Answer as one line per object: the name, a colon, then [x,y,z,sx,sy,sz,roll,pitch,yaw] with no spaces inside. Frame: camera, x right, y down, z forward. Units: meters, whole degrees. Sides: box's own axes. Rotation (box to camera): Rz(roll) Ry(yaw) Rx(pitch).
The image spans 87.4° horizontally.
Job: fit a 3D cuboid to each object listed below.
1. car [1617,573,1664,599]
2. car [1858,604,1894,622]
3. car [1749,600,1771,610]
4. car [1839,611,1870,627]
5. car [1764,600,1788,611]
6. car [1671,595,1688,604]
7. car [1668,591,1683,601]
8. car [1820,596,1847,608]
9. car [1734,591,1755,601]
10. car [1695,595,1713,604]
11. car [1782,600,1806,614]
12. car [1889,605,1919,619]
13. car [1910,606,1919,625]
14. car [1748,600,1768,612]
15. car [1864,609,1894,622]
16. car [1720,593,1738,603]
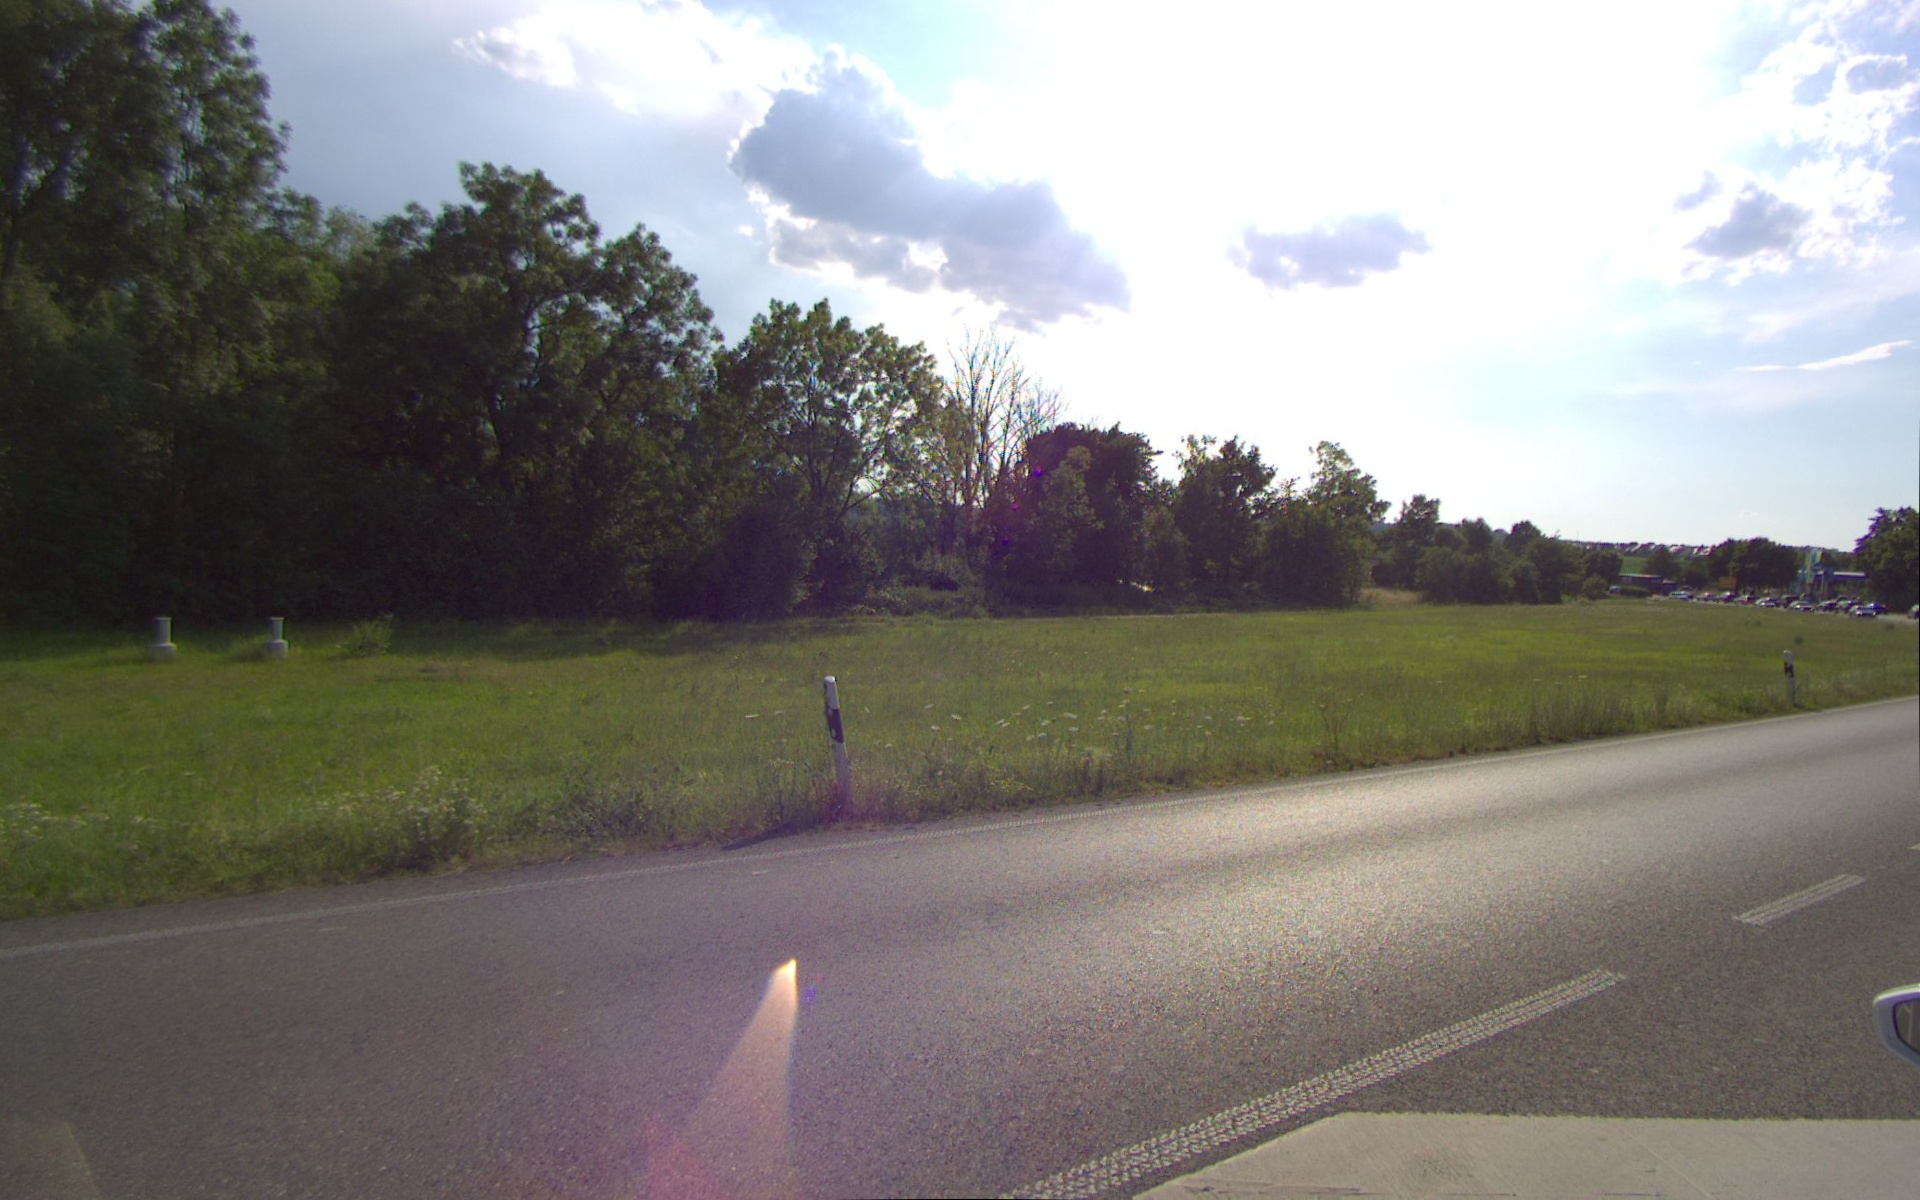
car: [141.388,-2.846,208.866,3.481,5.127,13.248,2,1,14]
car: [89.133,1.264,97.756,1.815,1.678,3.991,2,0,32]
car: [130.308,0.770,163.716,2.054,1.621,3.993,2,1,29]
car: [100.005,2.123,112.364,1.815,1.678,3.991,2,0,32]
car: [126.368,0.829,155.520,2.053,1.621,3.994,2,1,27]
car: [137.524,-0.078,191.903,1.852,1.621,3.996,2,1,25]
car: [128.174,-0.688,179.910,1.814,1.678,3.992,2,0,31]
car: [123.554,0.306,142.137,2.055,1.621,3.992,2,1,30]
car: [132.973,-0.654,170.289,1.852,1.621,3.997,2,1,24]
car: [136.849,-0.130,184.721,1.852,1.621,3.996,2,1,25]
car: [110.350,0.911,132.937,1.967,1.748,4.411,2,2,35]
car: [112.558,1.402,119.467,2.055,1.621,3.992,2,1,30]
car: [85.466,1.393,88.171,1.813,1.678,3.996,2,0,26]
car: [118.574,0.888,149.276,1.815,1.678,3.991,2,0,32]
car: [123.705,2.016,135.220,2.055,1.621,3.992,2,1,30]
car: [134.939,-0.400,176.227,1.853,1.621,3.994,2,1,28]
